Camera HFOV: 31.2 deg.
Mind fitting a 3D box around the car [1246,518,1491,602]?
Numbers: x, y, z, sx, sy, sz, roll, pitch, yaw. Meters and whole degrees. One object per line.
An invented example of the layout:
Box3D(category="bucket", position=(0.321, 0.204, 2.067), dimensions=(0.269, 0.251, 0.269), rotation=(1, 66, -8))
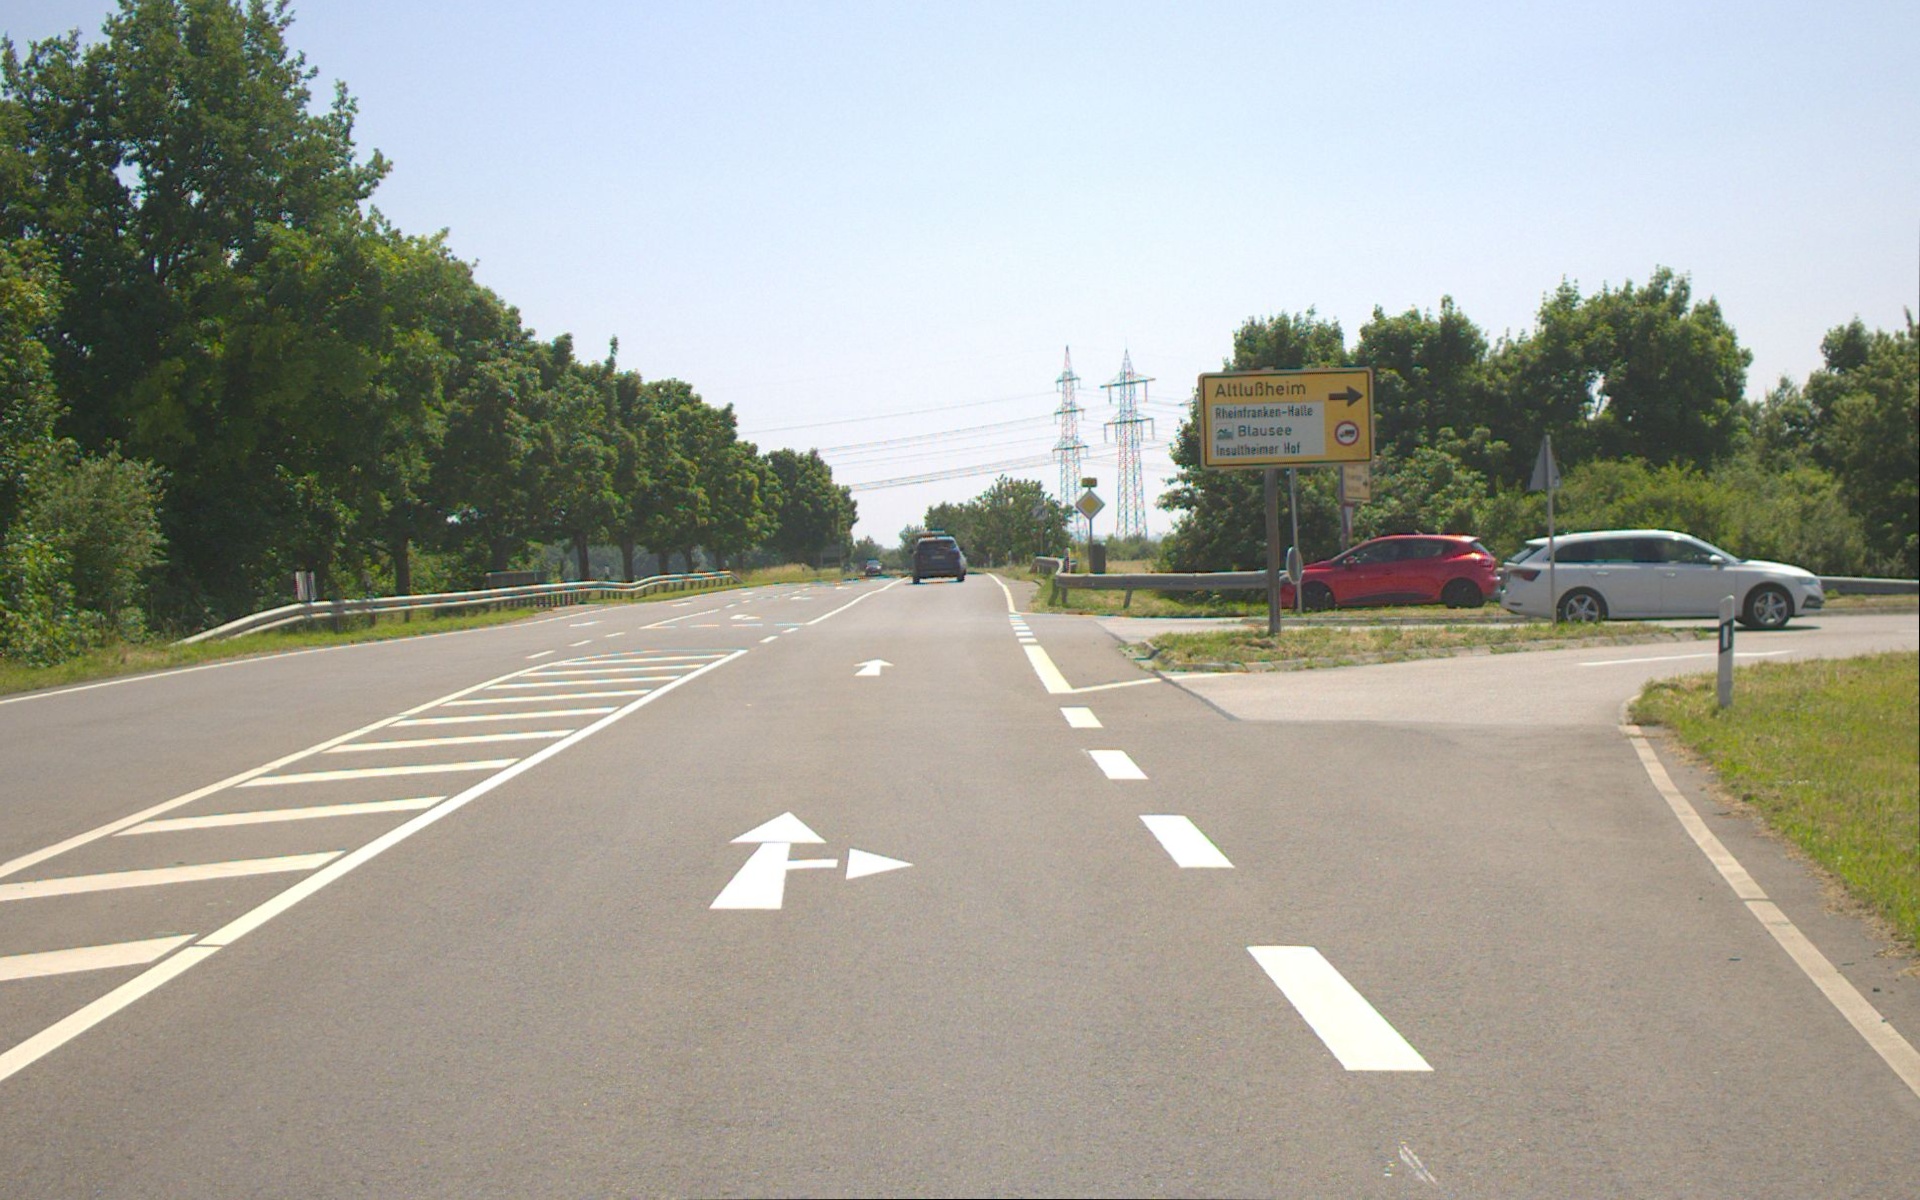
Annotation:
Box3D(category="car", position=(7.314, -0.703, 61.427), dimensions=(4.155, 1.414, 1.778), rotation=(-1, 0, 14))

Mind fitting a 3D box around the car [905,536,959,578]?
Box3D(category="car", position=(-1.034, -1.564, 126.197), dimensions=(1.884, 1.513, 4.040), rotation=(0, 1, -2))

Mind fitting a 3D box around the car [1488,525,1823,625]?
Box3D(category="car", position=(10.170, -0.378, 50.547), dimensions=(4.701, 1.414, 1.841), rotation=(0, 1, 8))
